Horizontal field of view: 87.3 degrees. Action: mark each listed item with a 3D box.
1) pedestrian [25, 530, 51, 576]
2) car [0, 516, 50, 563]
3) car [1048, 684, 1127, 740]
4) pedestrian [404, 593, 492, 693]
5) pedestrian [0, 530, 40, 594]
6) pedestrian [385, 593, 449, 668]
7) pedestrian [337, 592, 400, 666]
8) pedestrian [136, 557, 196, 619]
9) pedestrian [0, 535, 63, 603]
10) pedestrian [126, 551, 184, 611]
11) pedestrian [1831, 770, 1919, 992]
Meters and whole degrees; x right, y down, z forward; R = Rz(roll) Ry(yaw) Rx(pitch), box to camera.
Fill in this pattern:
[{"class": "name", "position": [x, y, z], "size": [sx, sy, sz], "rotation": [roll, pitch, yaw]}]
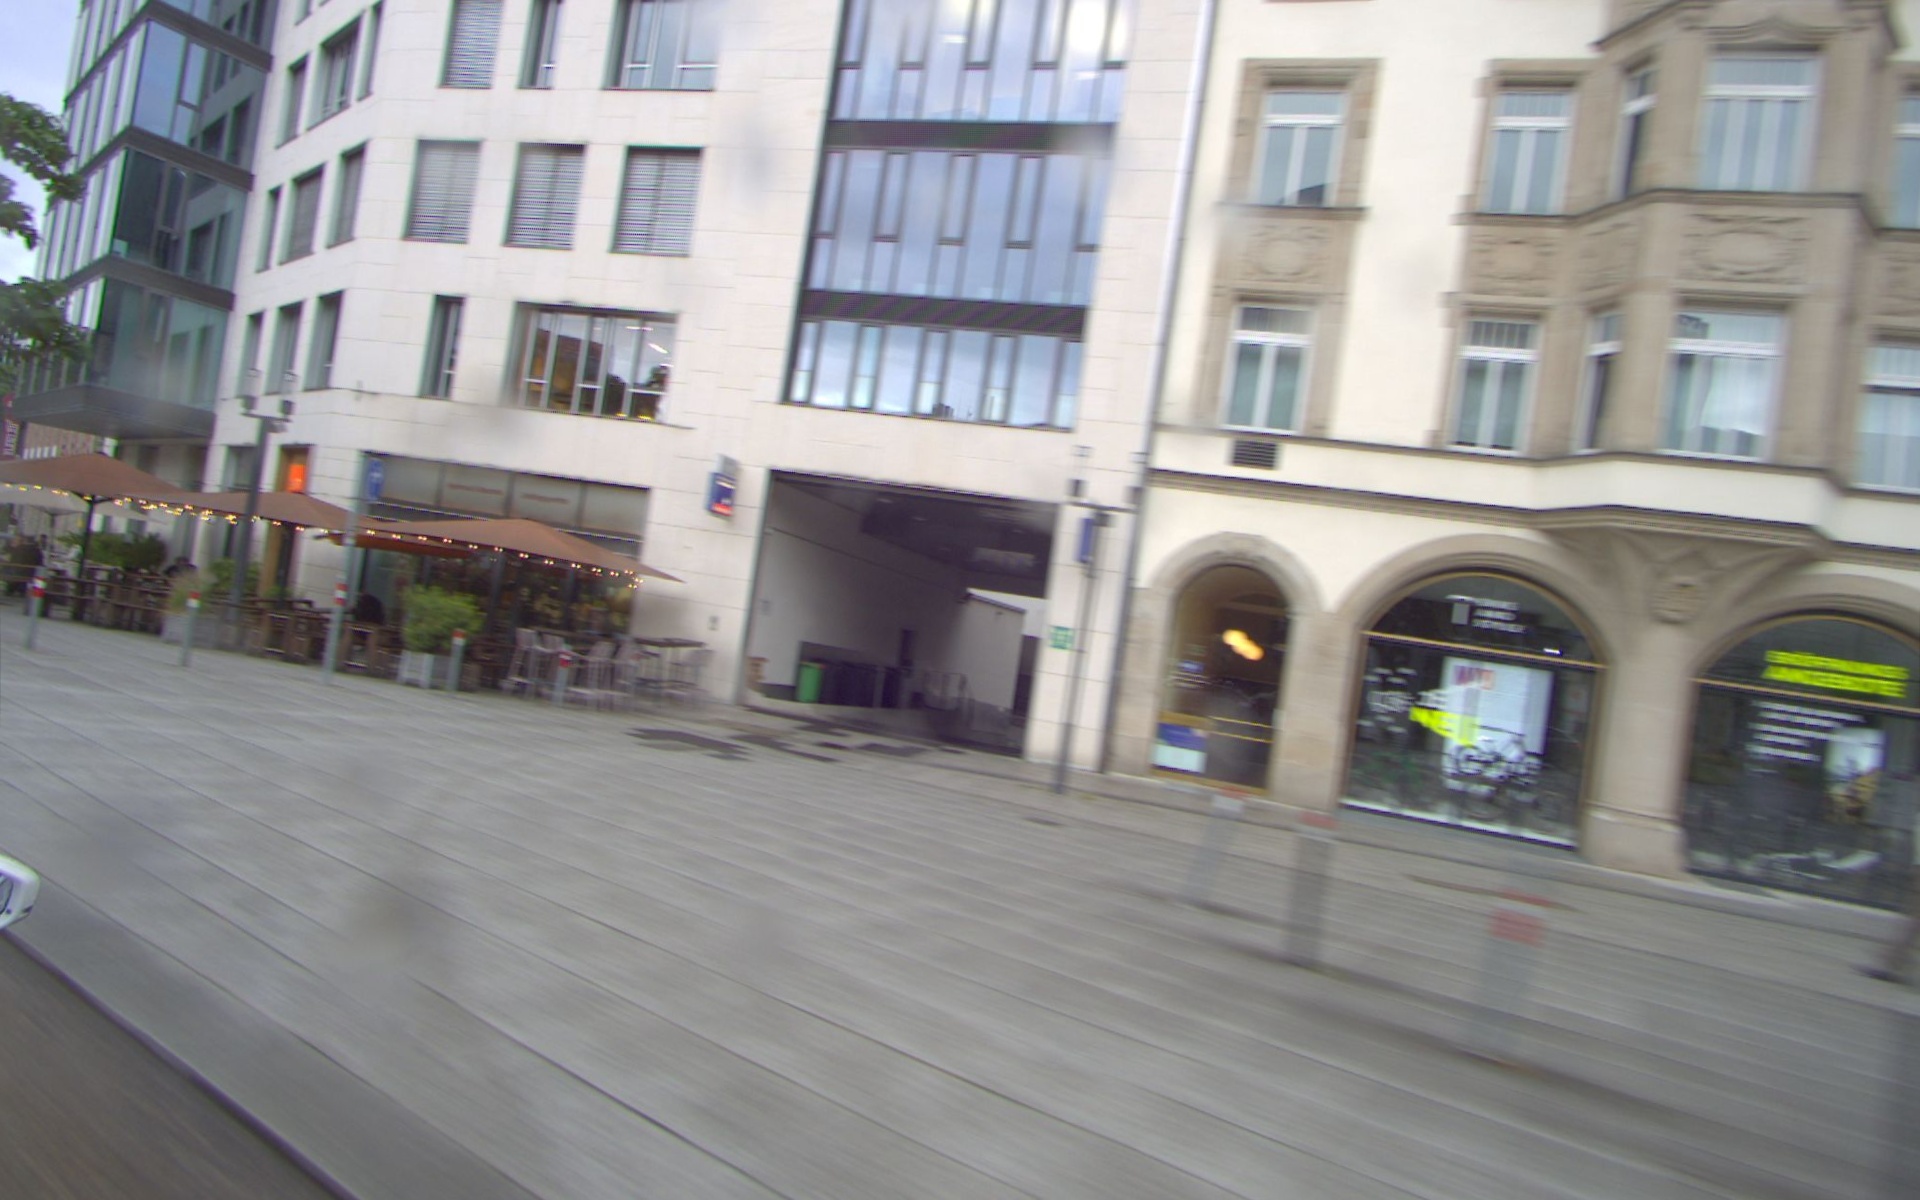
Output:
[{"class": "pedestrian", "position": [-30.165, -1.542, 32.903], "size": [0.471, 1.420, 0.434], "rotation": [6, -2, 39]}, {"class": "car", "position": [-41.584, -2.860, 42.186], "size": [1.976, 1.709, 4.737], "rotation": [7, -4, 40]}, {"class": "car", "position": [7.304, 6.421, 57.210], "size": [1.990, 2.559, 5.028], "rotation": [6, -5, 37]}, {"class": "pedestrian", "position": [-7.614, 0.647, 14.968], "size": [0.626, 1.340, 0.775], "rotation": [6, -5, 36]}, {"class": "pedestrian", "position": [-21.730, -0.894, 22.951], "size": [0.626, 1.340, 0.819], "rotation": [6, -5, 36]}, {"class": "pedestrian", "position": [-10.562, 0.603, 19.577], "size": [0.624, 1.340, 0.630], "rotation": [8, -4, 16]}, {"class": "pedestrian", "position": [-11.712, 0.582, 19.925], "size": [0.624, 1.340, 0.630], "rotation": [8, -4, 16]}, {"class": "pedestrian", "position": [-19.346, -0.289, 24.514], "size": [0.626, 1.340, 0.819], "rotation": [6, -5, 36]}, {"class": "pedestrian", "position": [-20.821, -0.687, 22.517], "size": [0.626, 1.340, 0.819], "rotation": [6, -5, 36]}, {"class": "pedestrian", "position": [-20.048, -0.466, 25.061], "size": [0.626, 1.340, 0.819], "rotation": [6, -5, 36]}, {"class": "pedestrian", "position": [8.845, 2.559, 9.039], "size": [1.227, 1.856, 0.875], "rotation": [6, -4, 27]}]
